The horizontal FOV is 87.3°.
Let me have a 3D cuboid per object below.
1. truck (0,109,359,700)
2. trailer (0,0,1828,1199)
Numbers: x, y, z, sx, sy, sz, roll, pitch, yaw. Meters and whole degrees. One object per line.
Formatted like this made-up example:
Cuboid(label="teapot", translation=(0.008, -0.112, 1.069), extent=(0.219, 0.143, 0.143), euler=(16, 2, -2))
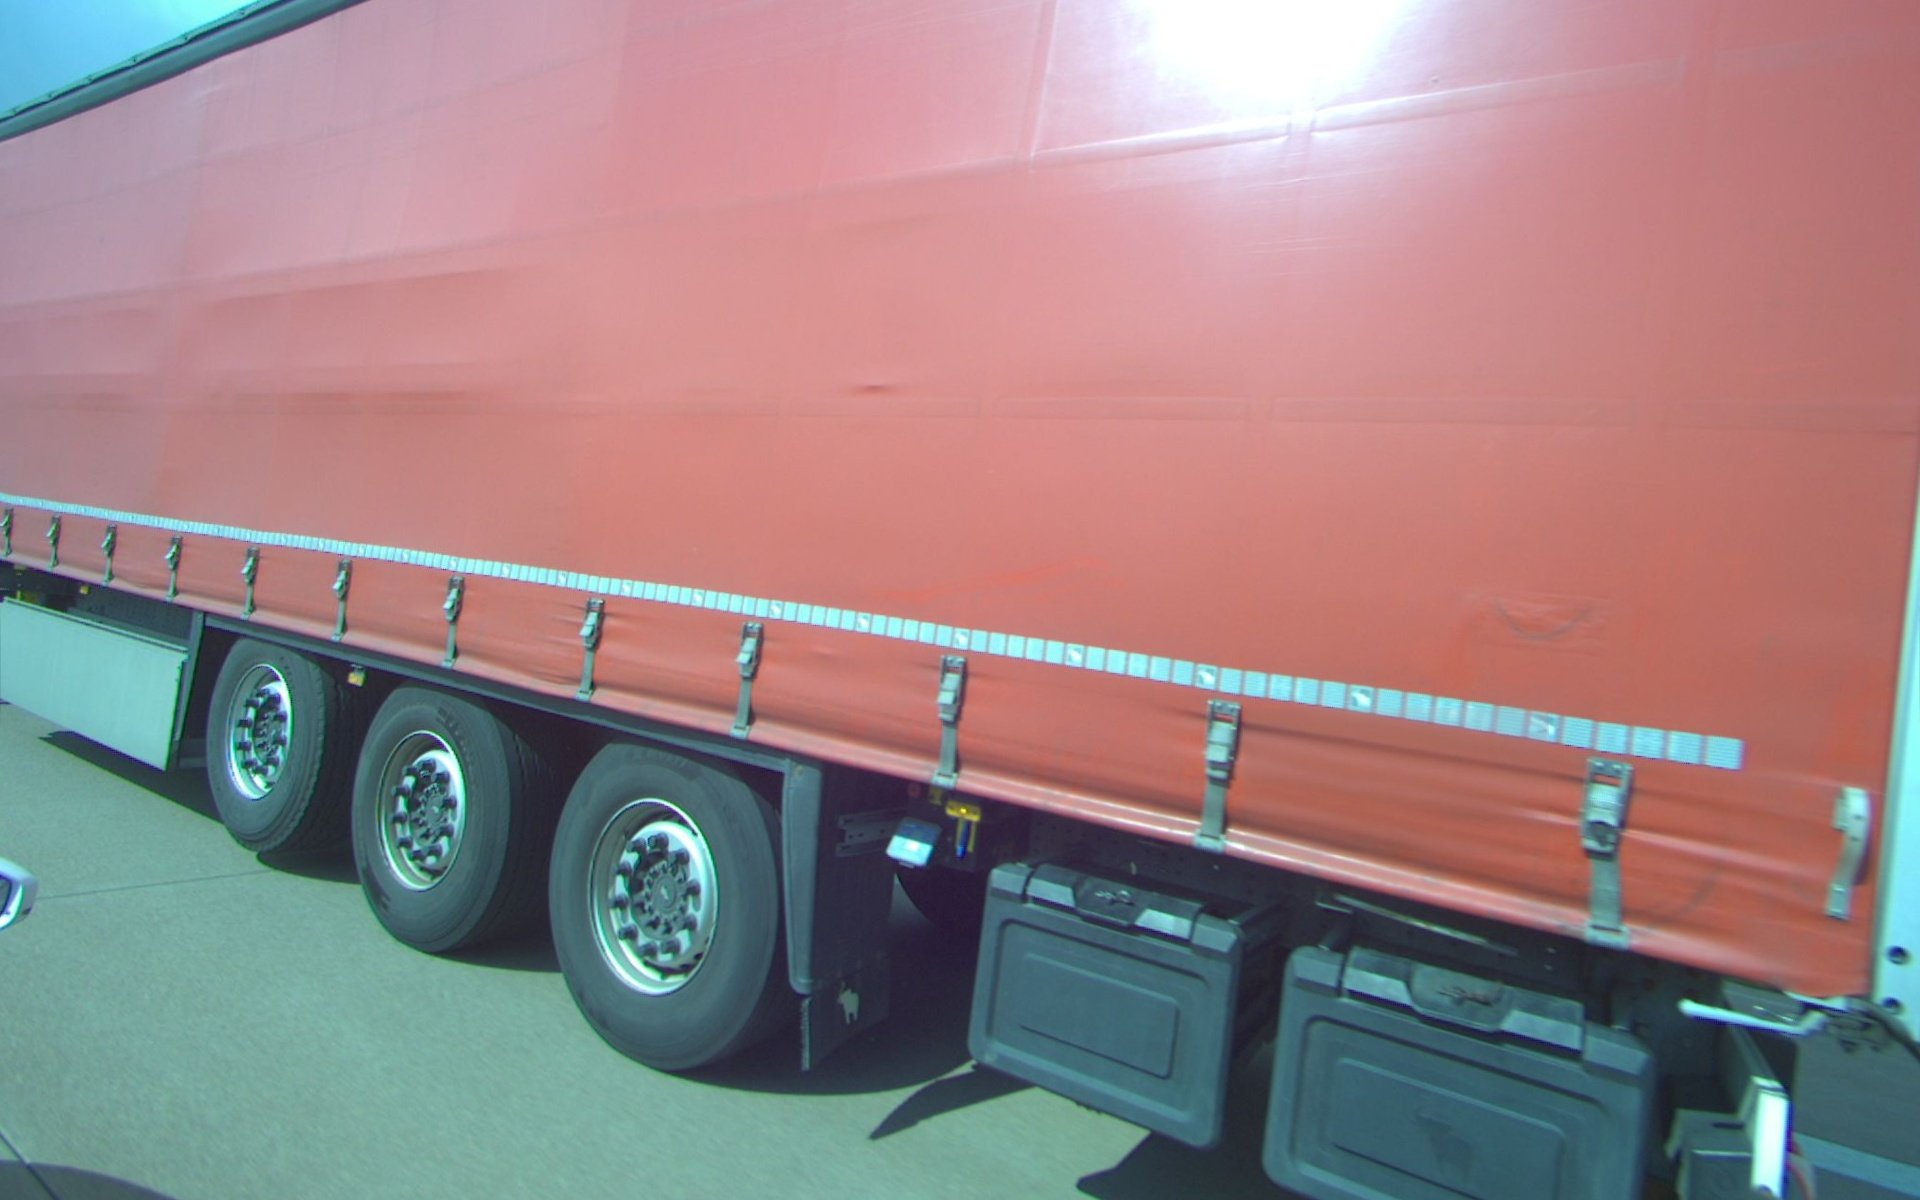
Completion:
Cuboid(label="truck", translation=(-9.130, -1.575, 9.706), extent=(6.506, 4.155, 2.678), euler=(6, -1, 32))
Cuboid(label="trailer", translation=(-3.299, -0.922, 6.073), extent=(12.577, 4.143, 2.676), euler=(6, -1, 32))
